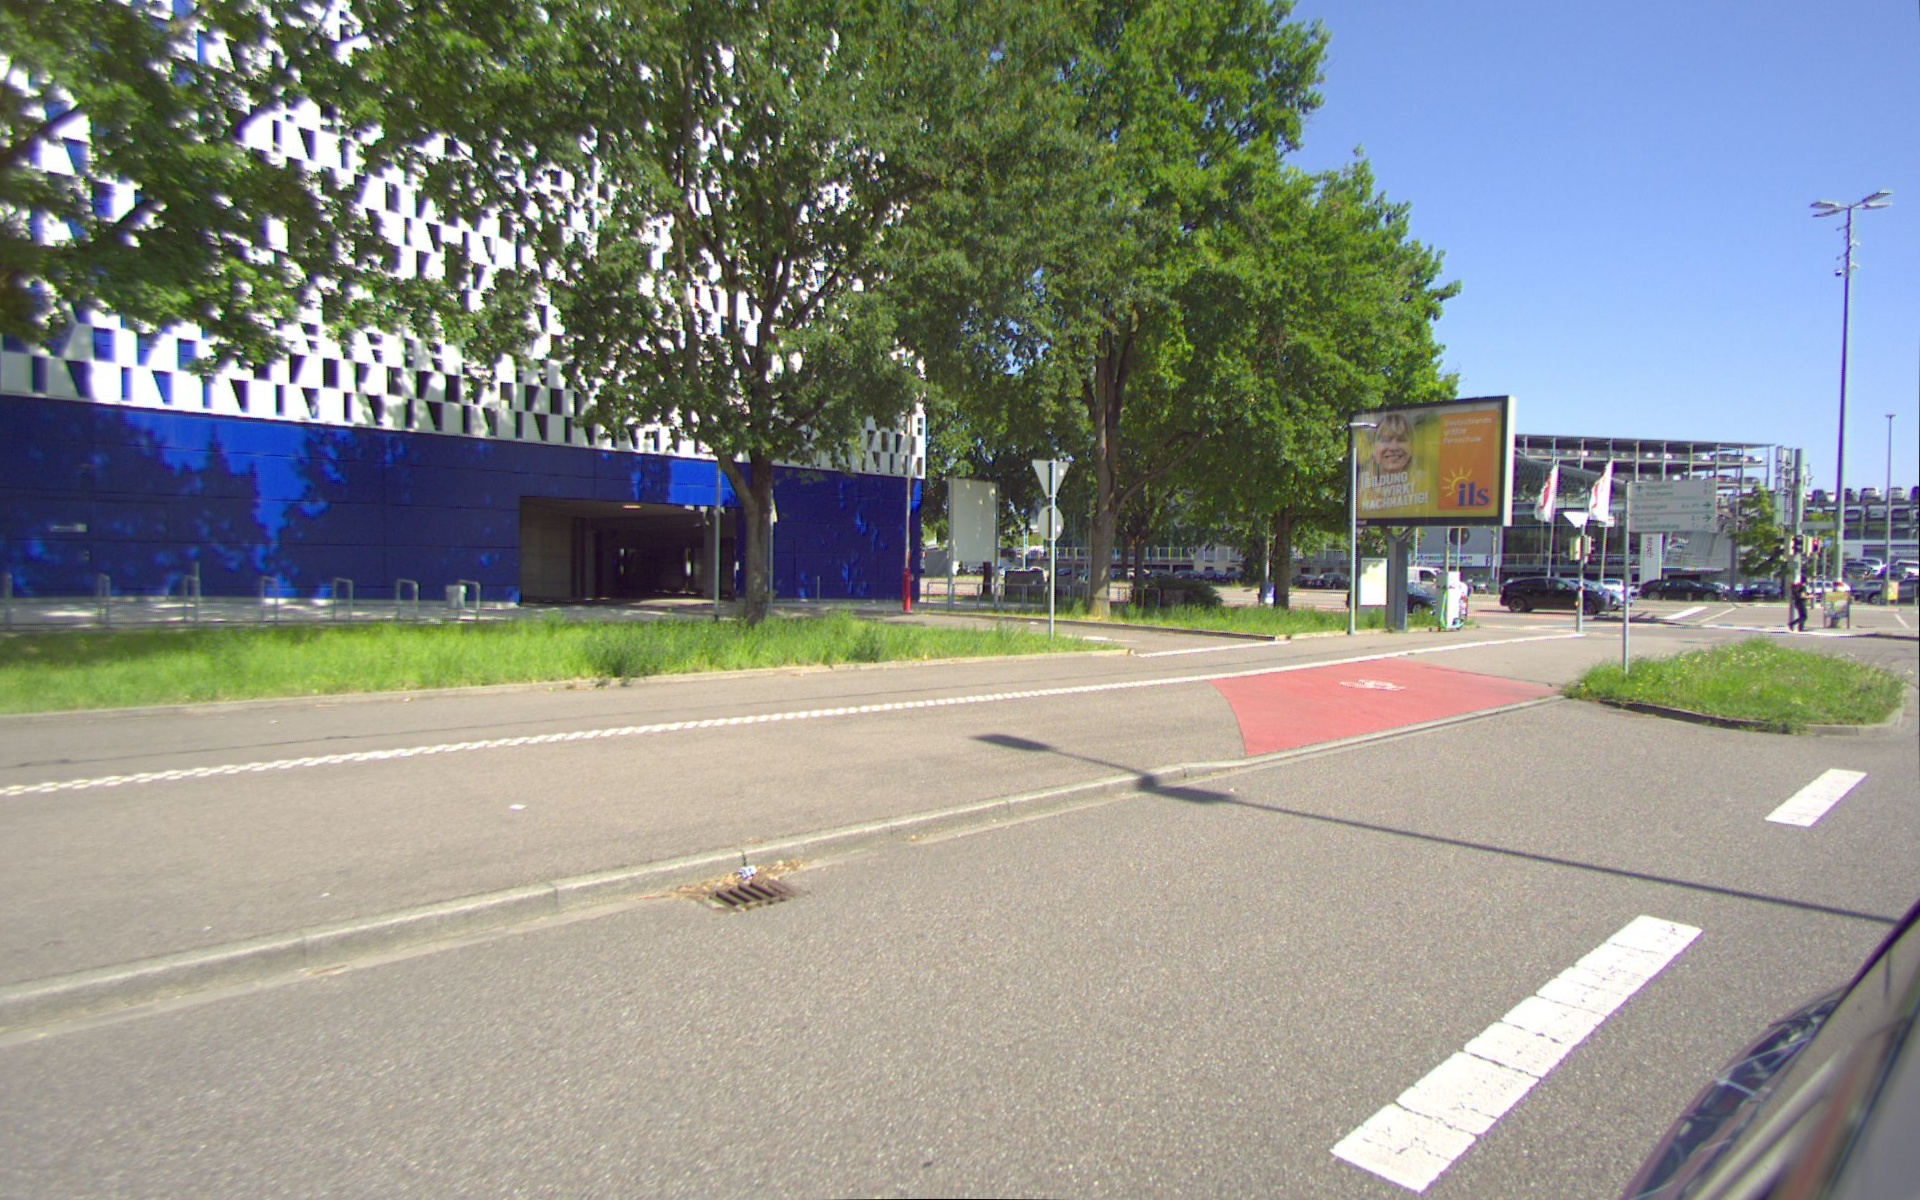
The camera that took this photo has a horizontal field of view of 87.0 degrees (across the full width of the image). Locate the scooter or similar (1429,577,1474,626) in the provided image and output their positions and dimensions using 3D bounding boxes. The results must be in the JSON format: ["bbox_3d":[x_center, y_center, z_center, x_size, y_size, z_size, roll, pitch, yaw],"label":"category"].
[{"bbox_3d":[12.402,0.037,25.524,1.160,1.181,0.403,-2,2,-27],"label":"scooter or similar"}]

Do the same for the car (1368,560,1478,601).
[{"bbox_3d":[24.243,-1.084,53.102,4.986,2.032,1.714,3,4,45],"label":"car"}]

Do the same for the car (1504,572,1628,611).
[{"bbox_3d":[27.012,-0.412,45.208,4.490,1.647,1.689,1,3,45],"label":"car"}]

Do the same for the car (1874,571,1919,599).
[{"bbox_3d":[56.158,-0.865,58.733,1.946,1.607,4.473,-1,3,-43],"label":"car"}]

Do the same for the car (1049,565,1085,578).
[{"bbox_3d":[10.342,-2.746,98.026,3.357,1.264,1.594,-1,2,-40],"label":"car"}]

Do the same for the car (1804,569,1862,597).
[{"bbox_3d":[50.293,-0.995,58.303,3.929,1.478,1.887,-2,3,-39],"label":"car"}]

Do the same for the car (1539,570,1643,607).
[{"bbox_3d":[29.792,-0.589,47.850,1.728,1.632,3.828,-2,3,-38],"label":"car"}]

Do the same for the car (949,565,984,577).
[{"bbox_3d":[0.633,-2.982,103.856,3.357,1.264,1.594,-1,2,-40],"label":"car"}]

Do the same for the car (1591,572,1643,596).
[{"bbox_3d":[42.829,-1.064,65.918,4.047,1.439,2.000,-1,3,-45],"label":"car"}]

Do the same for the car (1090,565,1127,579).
[{"bbox_3d":[13.844,-2.622,94.535,3.357,1.264,1.594,-1,2,-40],"label":"car"}]

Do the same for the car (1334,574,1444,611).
[{"bbox_3d":[19.009,-0.372,45.019,1.737,1.482,4.242,0,3,-33],"label":"car"}]

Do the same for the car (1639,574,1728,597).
[{"bbox_3d":[45.676,-0.951,63.914,4.339,1.366,1.793,3,3,45],"label":"car"}]

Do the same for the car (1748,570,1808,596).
[{"bbox_3d":[48.488,-1.042,59.963,3.929,1.479,1.998,-1,2,-39],"label":"car"}]

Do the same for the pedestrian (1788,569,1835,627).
[{"bbox_3d":[26.963,-0.076,32.043,0.939,1.801,0.708,0,2,-20],"label":"pedestrian"}]

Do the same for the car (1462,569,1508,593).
[{"bbox_3d":[36.919,-1.363,71.100,1.924,1.581,3.828,2,2,43],"label":"car"}]
